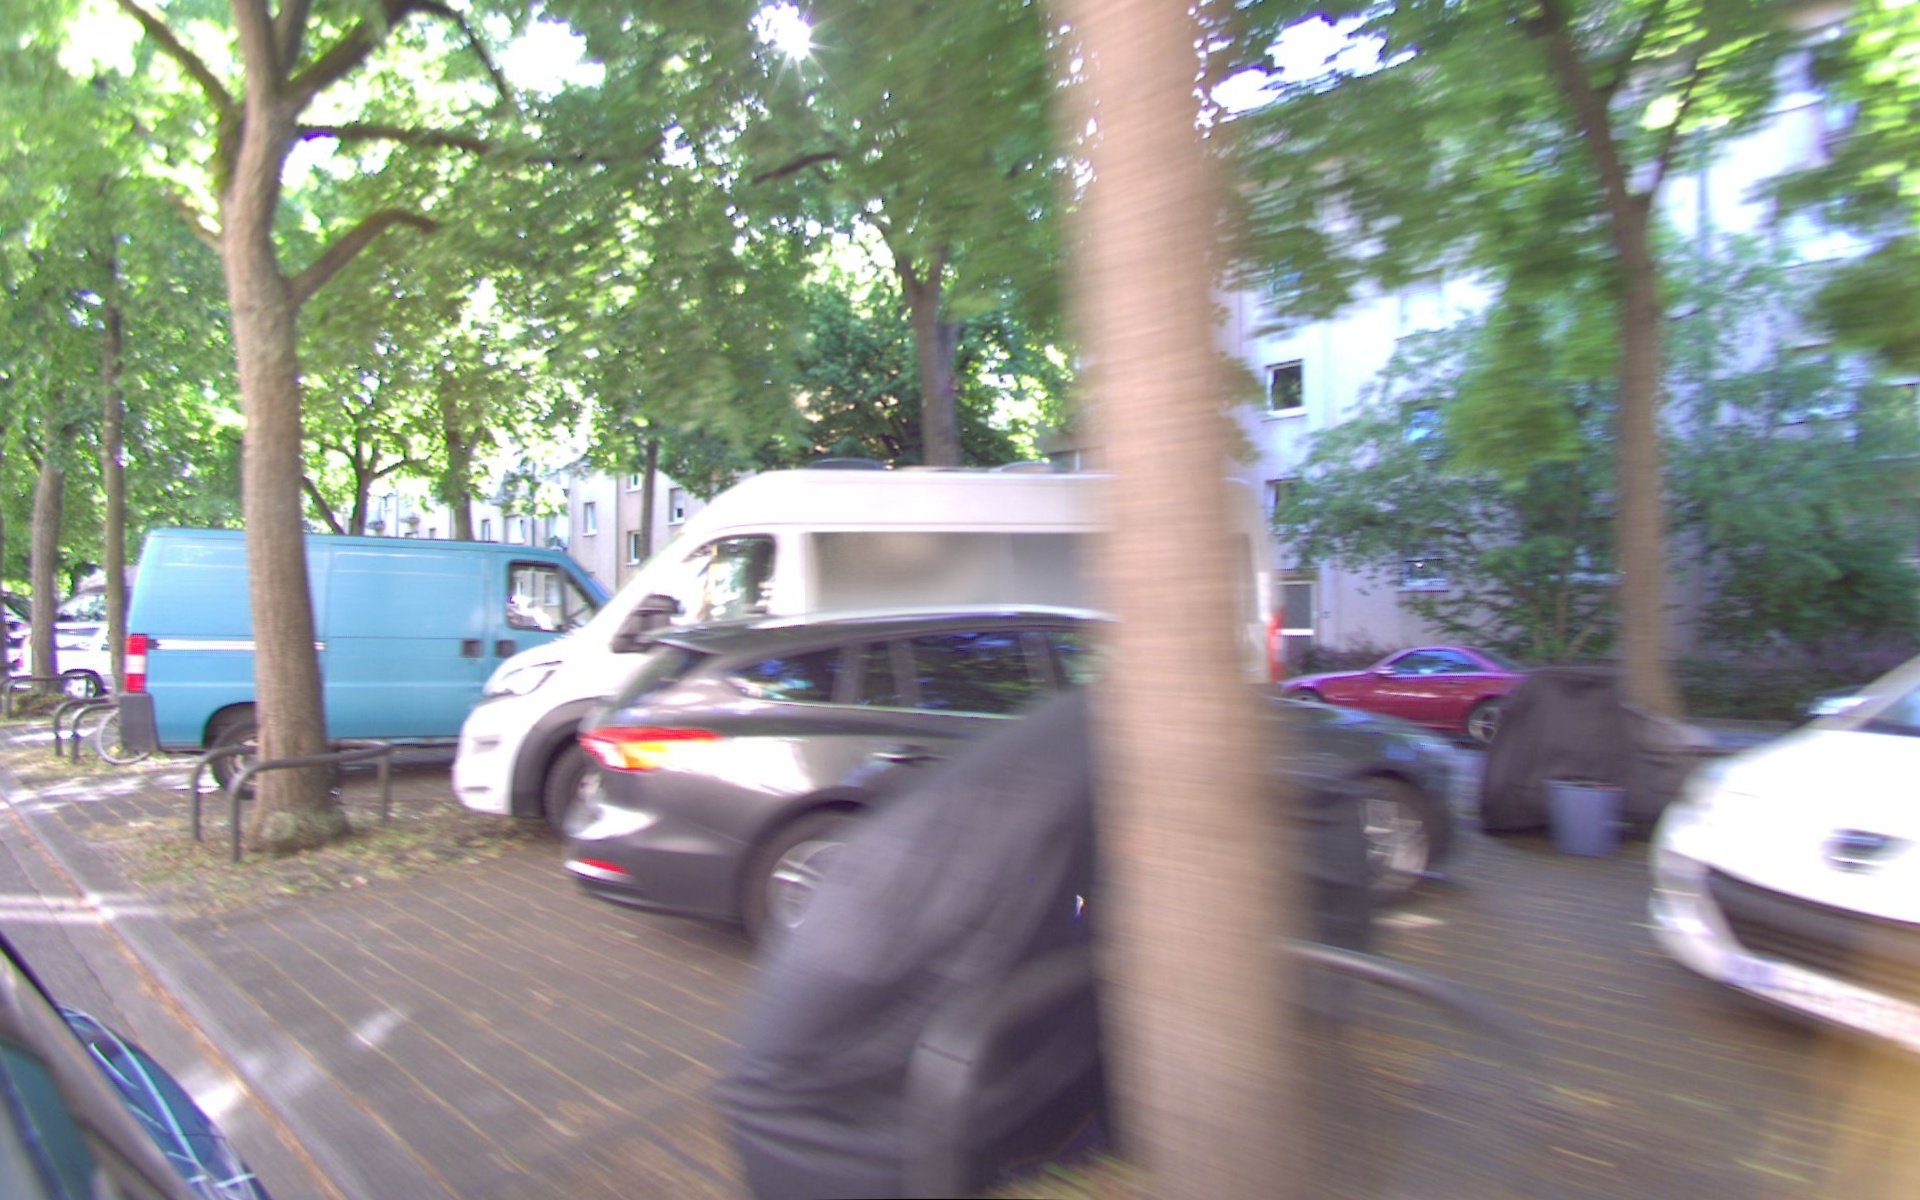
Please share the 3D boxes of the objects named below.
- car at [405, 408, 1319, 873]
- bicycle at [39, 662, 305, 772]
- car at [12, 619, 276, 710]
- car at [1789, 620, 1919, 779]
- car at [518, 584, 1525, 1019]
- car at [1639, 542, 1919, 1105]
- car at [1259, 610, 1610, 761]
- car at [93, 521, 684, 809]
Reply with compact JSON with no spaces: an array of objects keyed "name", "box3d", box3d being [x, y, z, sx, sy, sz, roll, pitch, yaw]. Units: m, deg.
[{"name":"car","box3d":[-0.533,0.269,7.585,6.095,2.530,2.145,1,-2,-21]},{"name":"bicycle","box3d":[-8.131,1.169,10.538,2.119,0.977,0.609,1,-2,-41]},{"name":"car","box3d":[-14.313,1.087,17.957,3.218,1.427,1.753,-1,0,-17]},{"name":"car","box3d":[10.480,0.935,9.556,3.999,1.497,1.972,-2,-2,42]},{"name":"car","box3d":[0.322,0.733,5.013,4.447,1.494,1.743,0,-2,-18]},{"name":"car","box3d":[4.484,0.628,3.256,3.761,1.556,1.686,0,-2,-14]},{"name":"car","box3d":[6.204,1.058,13.500,3.937,1.711,1.696,-2,-4,41]},{"name":"car","box3d":[-4.864,0.536,9.292,4.322,2.184,1.776,1,-2,-21]}]
